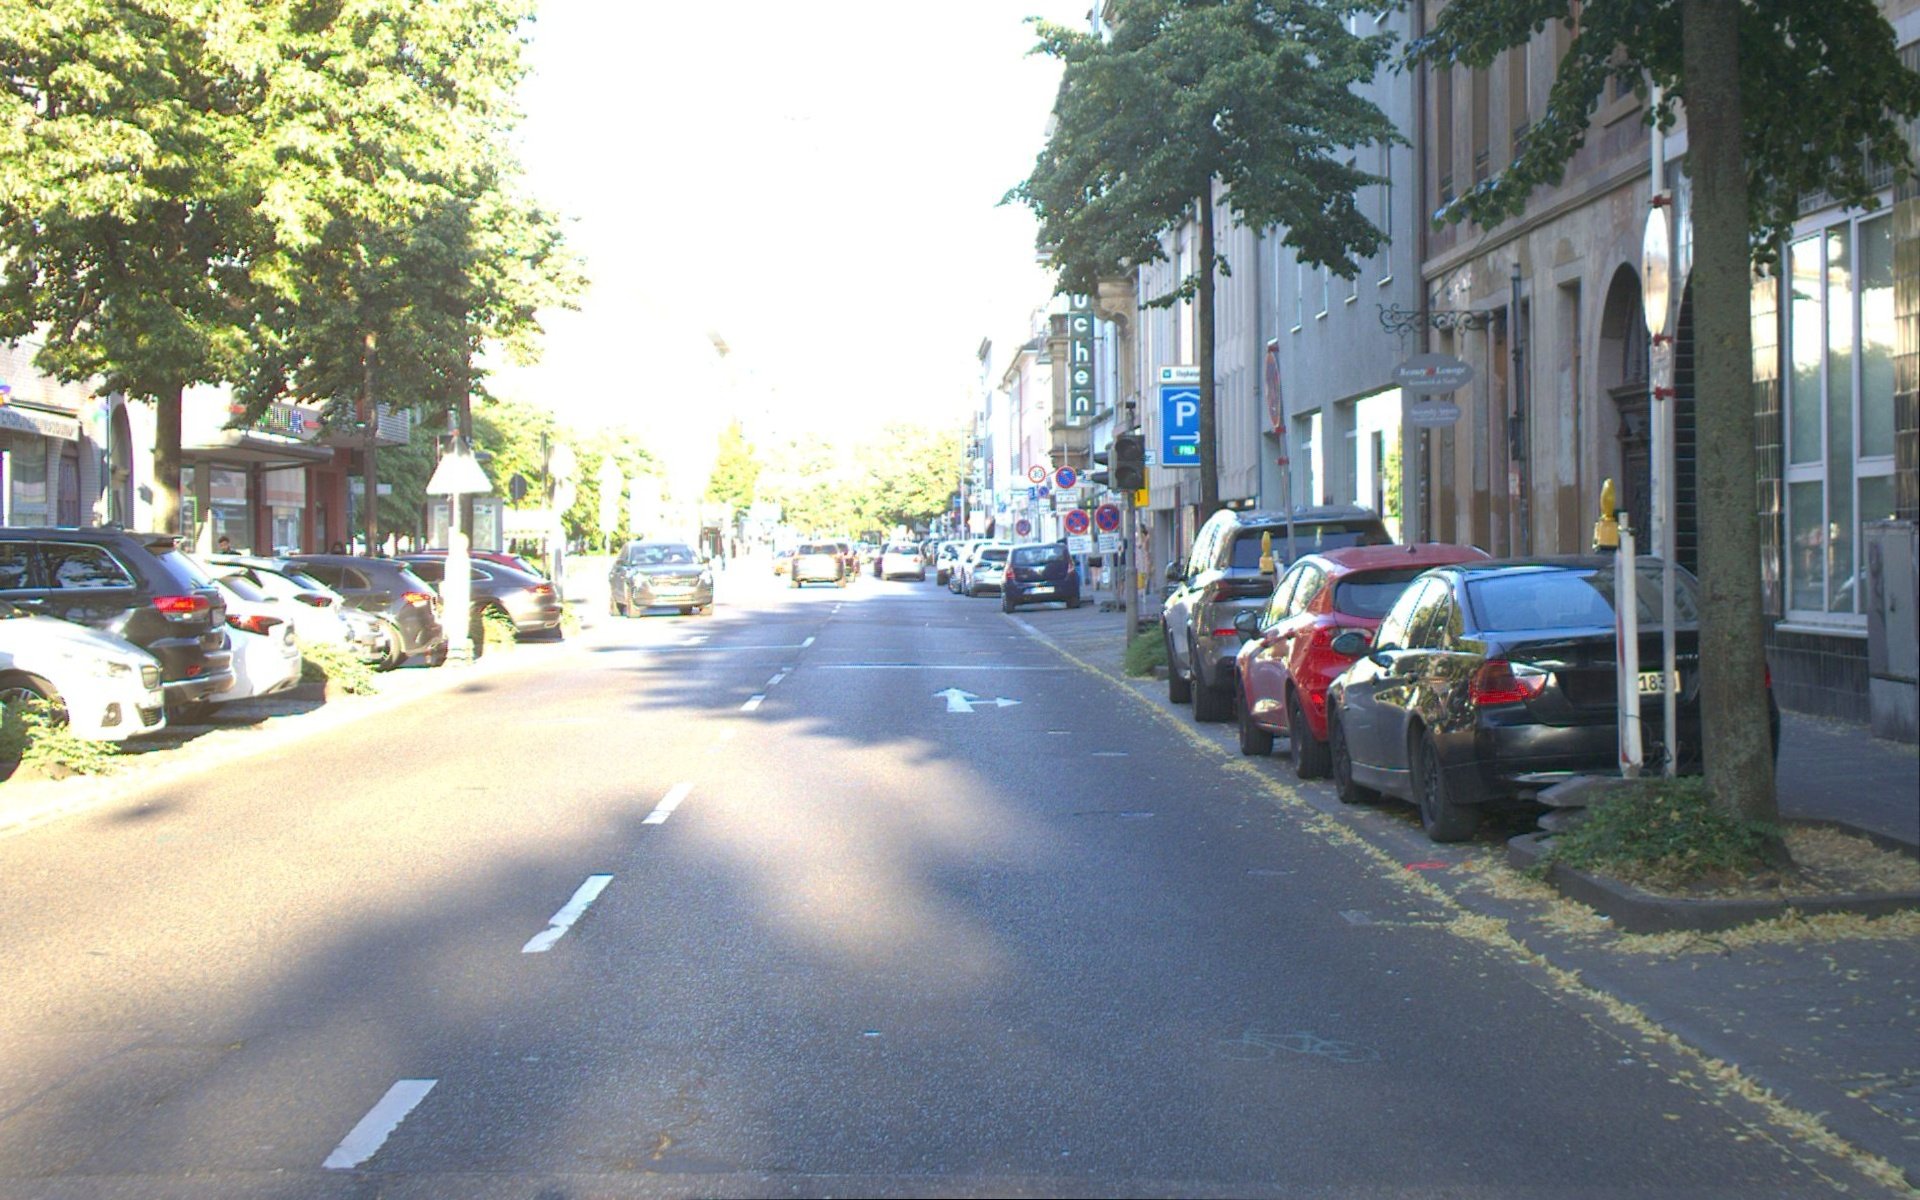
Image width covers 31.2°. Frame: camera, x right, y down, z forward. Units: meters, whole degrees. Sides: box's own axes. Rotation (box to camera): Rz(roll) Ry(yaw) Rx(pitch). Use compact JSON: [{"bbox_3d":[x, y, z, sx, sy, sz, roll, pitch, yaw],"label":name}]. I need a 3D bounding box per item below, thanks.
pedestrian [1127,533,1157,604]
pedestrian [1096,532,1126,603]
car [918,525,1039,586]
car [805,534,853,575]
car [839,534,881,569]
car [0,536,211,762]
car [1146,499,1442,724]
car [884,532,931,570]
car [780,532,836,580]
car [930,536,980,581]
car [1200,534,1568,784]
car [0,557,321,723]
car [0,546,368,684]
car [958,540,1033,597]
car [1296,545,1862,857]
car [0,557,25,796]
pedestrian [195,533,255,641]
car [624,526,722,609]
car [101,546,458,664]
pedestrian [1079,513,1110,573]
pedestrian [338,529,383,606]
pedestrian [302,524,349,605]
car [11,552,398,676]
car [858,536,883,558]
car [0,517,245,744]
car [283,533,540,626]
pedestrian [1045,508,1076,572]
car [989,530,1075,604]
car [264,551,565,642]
[{"bbox_3d":[4.141,-0.724,78.194,0.604,1.594,0.774,0,1,-2],"label":"pedestrian"},{"bbox_3d":[3.433,-0.747,78.126,0.604,1.594,0.774,0,1,-2],"label":"pedestrian"},{"bbox_3d":[0.537,-1.342,104.172,1.993,1.755,4.467,-1,1,-24],"label":"car"},{"bbox_3d":[-5.247,-1.826,138.498,1.896,1.644,4.105,0,1,-2],"label":"car"},{"bbox_3d":[-4.614,-2.236,158.007,1.896,1.575,3.852,1,1,-2],"label":"car"},{"bbox_3d":[-7.940,0.320,25.476,4.406,1.590,1.890,0,1,-2],"label":"car"},{"bbox_3d":[2.831,0.043,30.206,2.038,1.731,4.711,-3,1,0],"label":"car"},{"bbox_3d":[-2.240,-2.058,144.823,1.896,1.576,4.000,1,1,-2],"label":"car"},{"bbox_3d":[-5.344,-1.558,121.247,1.896,1.644,4.104,0,1,-2],"label":"car"},{"bbox_3d":[-0.197,-1.557,129.890,1.729,1.645,4.285,1,1,-2],"label":"car"},{"bbox_3d":[2.803,0.334,23.543,1.729,1.482,3.901,-3,1,-4],"label":"car"},{"bbox_3d":[-7.908,0.333,30.668,4.148,1.416,1.767,0,1,-3],"label":"car"},{"bbox_3d":[-8.421,0.145,37.389,3.737,1.439,1.806,0,1,-4],"label":"car"},{"bbox_3d":[0.964,-0.872,96.532,1.759,1.531,4.822,1,0,-3],"label":"car"},{"bbox_3d":[3.187,0.448,18.677,1.951,1.385,4.425,-3,1,-4],"label":"car"},{"bbox_3d":[-8.221,0.488,21.081,4.547,1.479,1.745,0,1,-4],"label":"car"},{"bbox_3d":[-11.913,-0.204,55.732,0.772,1.715,0.876,1,-1,-1],"label":"pedestrian"},{"bbox_3d":[-6.329,-0.741,75.363,1.861,1.686,4.462,-1,2,-8],"label":"car"},{"bbox_3d":[-8.340,0.047,42.414,4.106,1.398,1.884,0,1,-3],"label":"car"},{"bbox_3d":[3.920,-1.674,100.204,0.772,1.705,1.042,-2,1,-2],"label":"pedestrian"},{"bbox_3d":[-11.995,-0.639,68.822,0.734,1.523,0.876,1,-1,-1],"label":"pedestrian"},{"bbox_3d":[-12.677,-0.707,68.726,0.772,1.602,0.876,1,-1,-1],"label":"pedestrian"},{"bbox_3d":[-8.791,0.149,40.240,4.097,1.398,1.843,0,1,1],"label":"car"},{"bbox_3d":[-6.620,-3.911,253.424,1.779,1.542,4.000,0,1,-2],"label":"car"},{"bbox_3d":[-8.027,0.218,27.814,4.148,1.767,1.890,0,1,-3],"label":"car"},{"bbox_3d":[-9.265,-0.356,58.277,4.072,1.531,1.884,0,1,-1],"label":"car"},{"bbox_3d":[2.922,-1.746,100.039,0.772,1.821,1.011,-2,1,-2],"label":"pedestrian"},{"bbox_3d":[1.596,-0.763,77.863,1.759,1.531,4.000,-4,1,0],"label":"car"},{"bbox_3d":[-8.687,-0.068,55.023,4.570,1.403,1.822,0,1,-2],"label":"car"}]
